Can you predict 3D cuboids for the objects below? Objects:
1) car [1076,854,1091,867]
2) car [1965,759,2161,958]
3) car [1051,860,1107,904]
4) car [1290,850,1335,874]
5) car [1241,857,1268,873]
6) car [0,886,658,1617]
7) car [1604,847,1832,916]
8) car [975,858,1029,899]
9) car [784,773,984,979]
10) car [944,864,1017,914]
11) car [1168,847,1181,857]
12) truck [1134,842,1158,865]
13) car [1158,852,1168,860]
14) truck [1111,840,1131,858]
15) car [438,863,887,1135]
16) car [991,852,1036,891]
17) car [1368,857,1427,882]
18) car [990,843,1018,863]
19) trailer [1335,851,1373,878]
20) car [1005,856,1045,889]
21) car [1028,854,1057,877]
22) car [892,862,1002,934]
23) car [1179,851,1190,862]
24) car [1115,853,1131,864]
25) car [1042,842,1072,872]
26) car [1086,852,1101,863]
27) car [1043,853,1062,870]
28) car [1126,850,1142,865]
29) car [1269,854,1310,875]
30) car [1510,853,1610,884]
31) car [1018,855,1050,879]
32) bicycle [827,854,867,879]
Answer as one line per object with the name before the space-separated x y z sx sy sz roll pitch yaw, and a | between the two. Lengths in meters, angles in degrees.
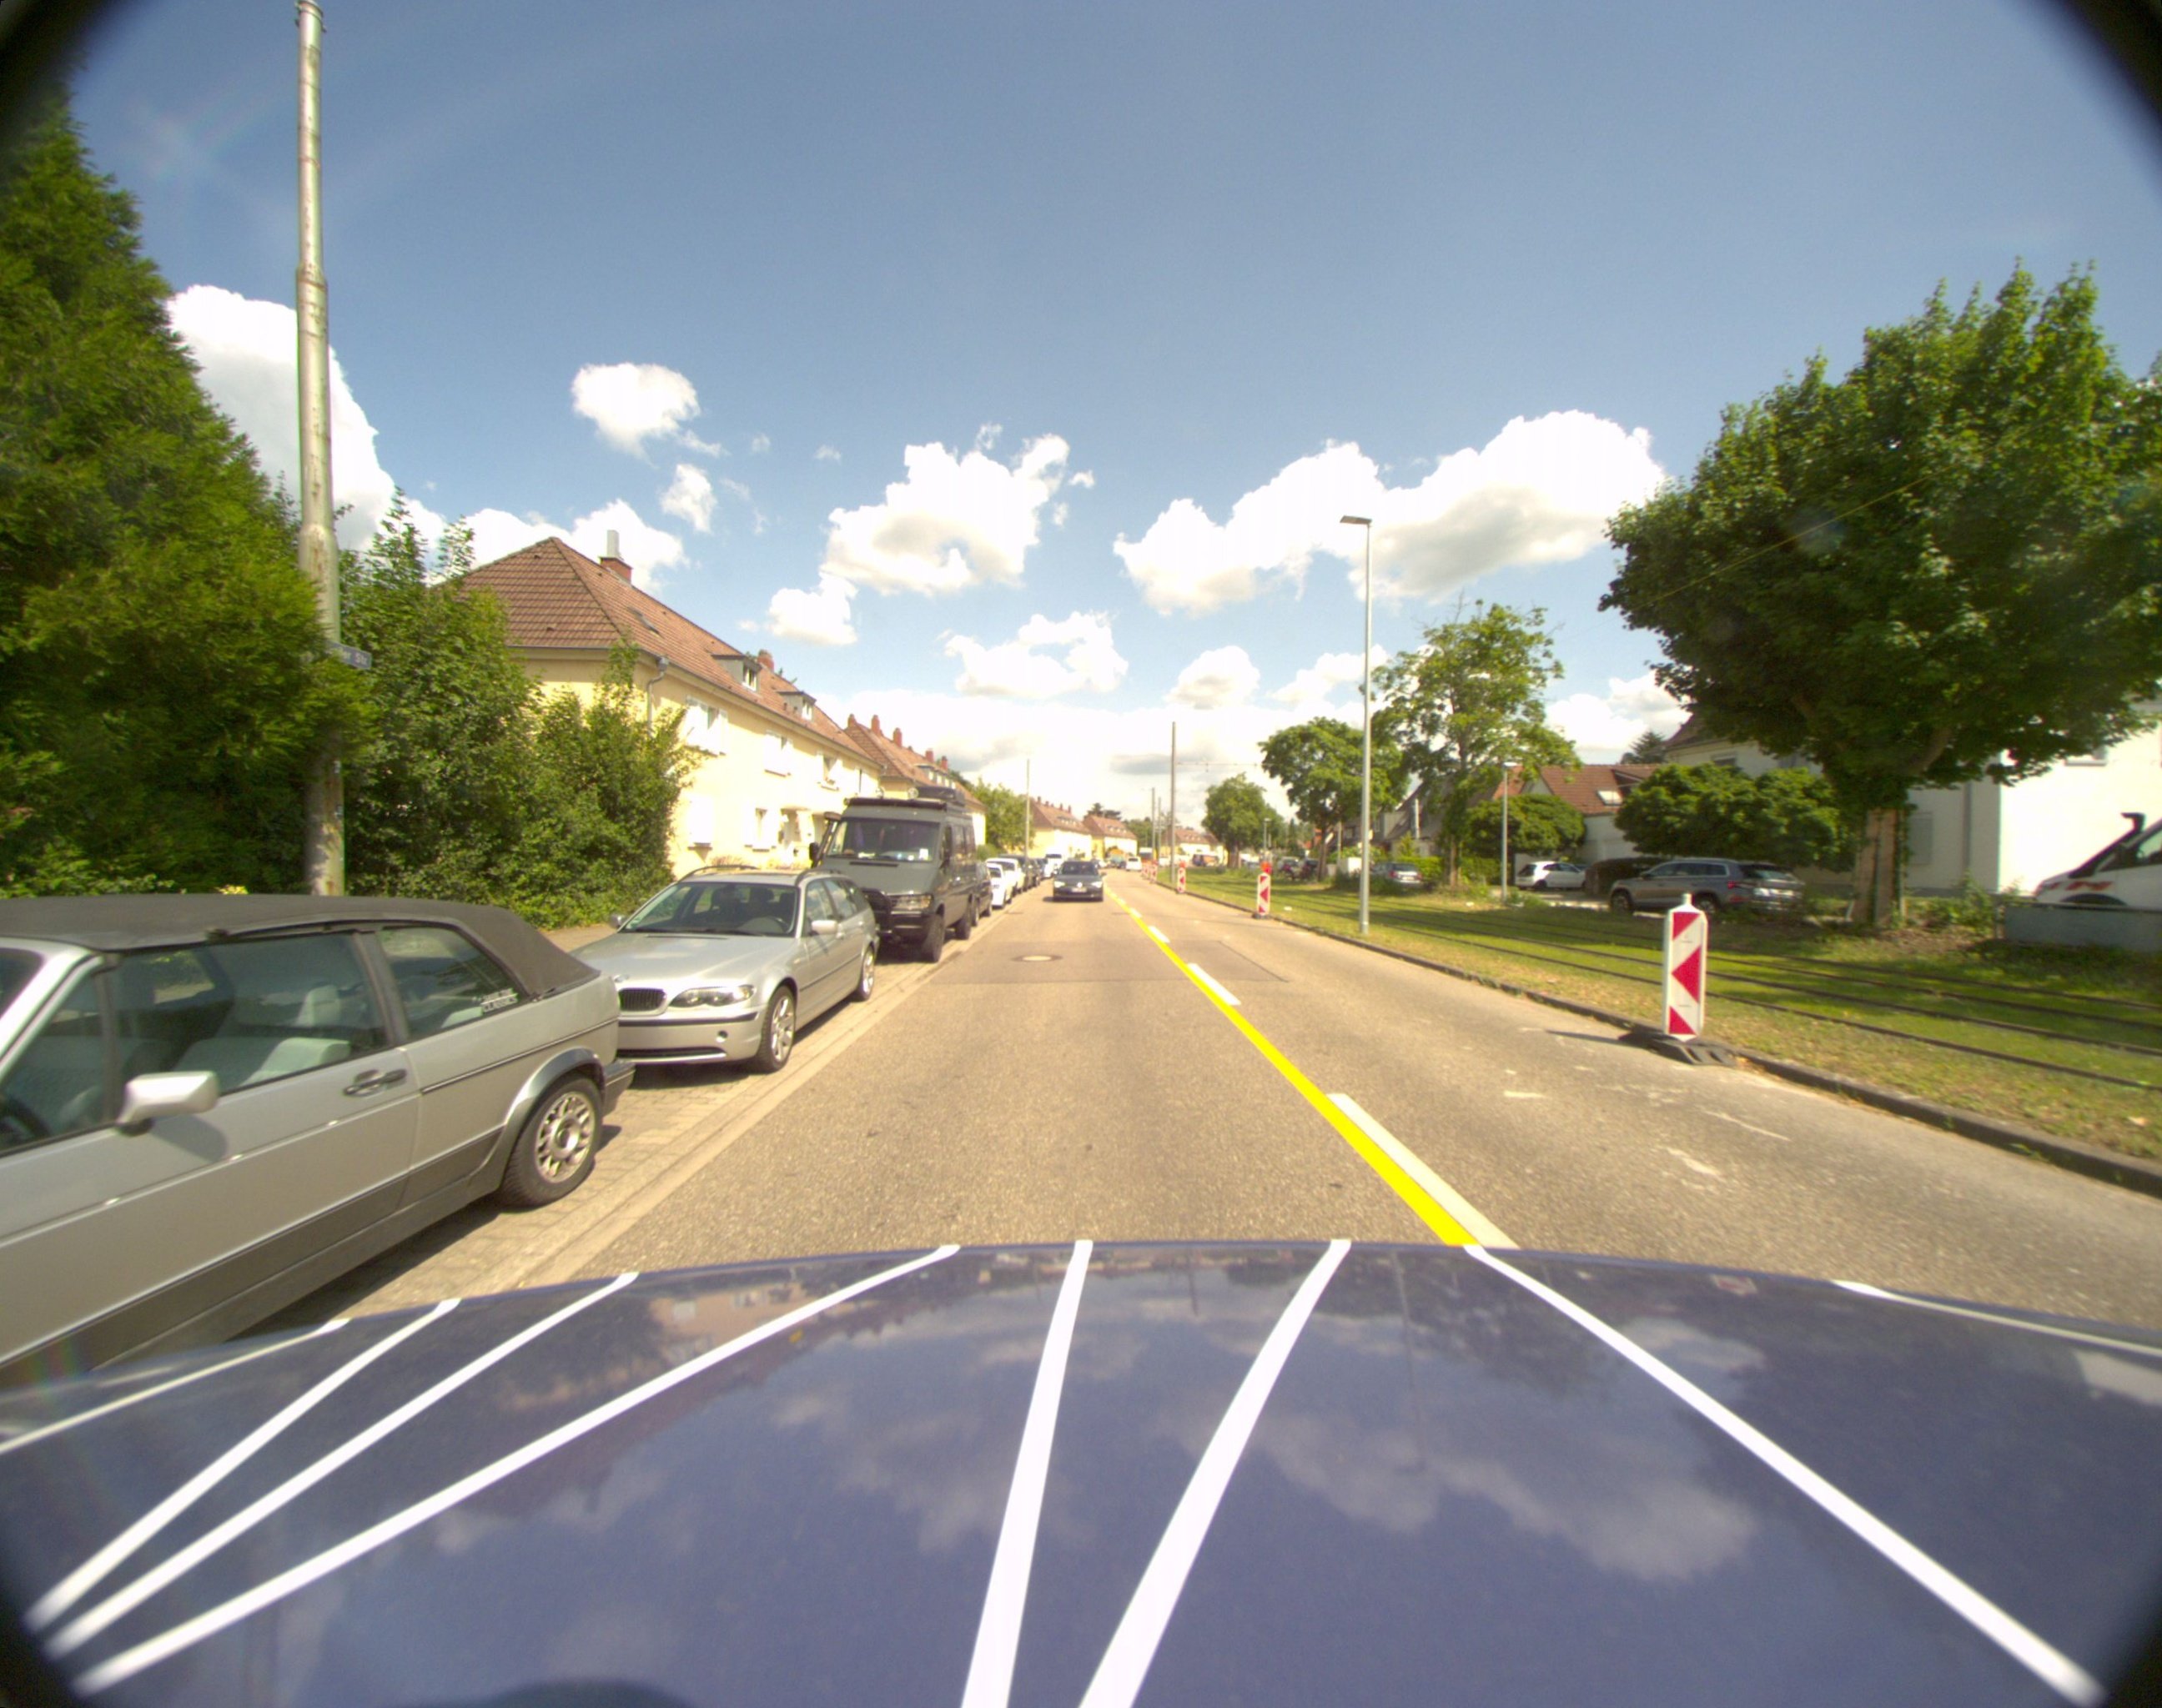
car | 0.339 0.736 91.678 1.513 1.490 3.408 2 1 6
car | 15.781 0.081 9.392 1.999 2.714 6.461 1 0 -2
car | -0.163 0.947 27.535 1.787 1.412 4.288 -1 0 -3
car | 16.331 0.583 53.856 1.910 1.568 4.101 4 -1 1
car | 17.719 1.123 77.735 1.998 1.531 4.323 1 1 3
car | -3.156 0.926 2.069 1.655 1.423 4.096 1 1 1
car | 15.834 0.594 19.294 1.998 1.497 4.486 1 1 0
car | -3.055 0.913 30.039 1.654 1.410 4.025 2 0 1
car | -2.993 0.292 12.760 2.001 2.744 4.878 2 0 0
car | -2.983 1.003 23.341 1.725 1.287 4.128 2 0 -1
car | 19.239 -0.450 156.193 1.839 2.043 3.873 2 1 16
truck | 10.361 -0.039 119.863 2.700 3.346 8.057 2 0 12
car | 15.286 0.371 141.715 1.512 1.490 3.578 2 1 12
truck | 7.029 -0.848 132.109 2.530 2.931 7.866 1 1 10
car | -3.056 0.905 6.730 1.696 1.507 4.354 1 1 -2
car | -3.020 0.756 34.690 1.683 1.621 4.270 2 0 0
car | 15.847 0.764 38.228 1.784 1.087 3.838 1 1 7
car | -7.140 -0.078 70.759 1.926 1.736 4.048 1 0 3
trailer | 15.654 0.581 43.687 1.302 1.510 2.281 1 1 0
car | -2.885 0.919 39.677 1.689 1.429 4.515 2 1 0
car | -2.670 0.805 54.093 1.756 1.480 4.627 2 0 1
car | -3.027 0.939 18.194 1.725 1.394 4.836 2 0 0
car | 22.722 0.578 166.236 1.694 2.417 3.580 1 0 19
car | 6.406 0.626 114.887 1.997 1.566 4.003 1 0 9
car | -2.073 0.269 67.159 1.923 2.522 5.346 2 0 5
car | 1.749 0.485 104.021 1.512 1.490 3.577 2 1 10
car | -2.312 0.595 62.437 1.358 1.299 3.543 2 1 1
car | 7.021 0.460 100.803 1.944 1.931 4.563 2 0 4
car | 16.137 0.783 59.043 1.998 1.531 4.322 1 1 1
car | 24.995 0.779 39.769 3.997 1.518 2.001 1 -2 0
car | -2.987 0.801 48.916 1.702 1.421 3.898 2 1 1
bicycle | -10.368 0.548 33.704 1.693 1.096 0.290 0 1 0
